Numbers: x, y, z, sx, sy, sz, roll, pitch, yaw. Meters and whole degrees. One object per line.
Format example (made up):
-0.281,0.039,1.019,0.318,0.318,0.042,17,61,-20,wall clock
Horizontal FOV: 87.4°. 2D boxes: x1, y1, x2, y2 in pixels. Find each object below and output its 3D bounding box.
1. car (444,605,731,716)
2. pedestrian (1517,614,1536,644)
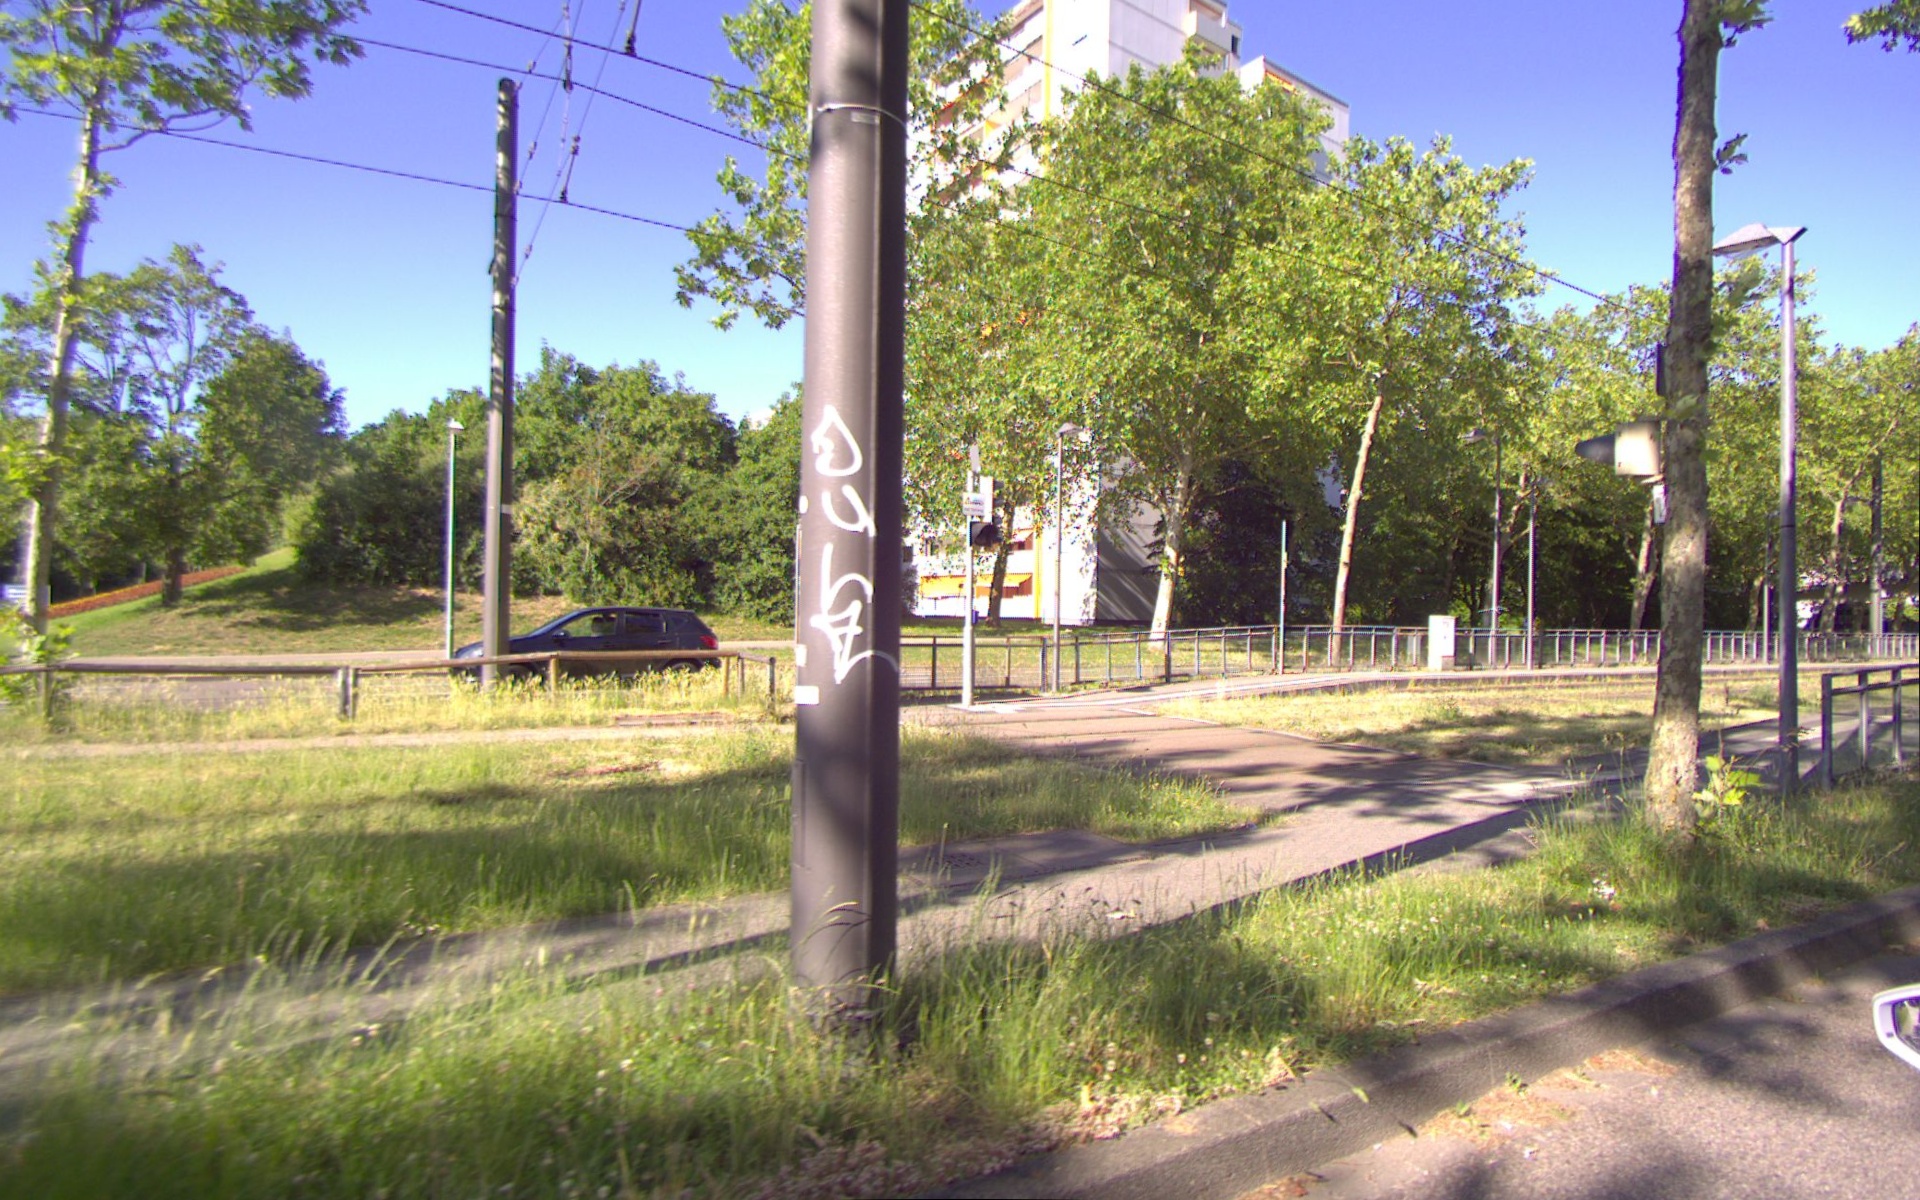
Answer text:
-6.111,0.943,16.606,4.216,1.629,1.786,1,-1,-30,car
31.680,1.630,56.194,0.642,1.683,0.645,1,0,-29,pedestrian
